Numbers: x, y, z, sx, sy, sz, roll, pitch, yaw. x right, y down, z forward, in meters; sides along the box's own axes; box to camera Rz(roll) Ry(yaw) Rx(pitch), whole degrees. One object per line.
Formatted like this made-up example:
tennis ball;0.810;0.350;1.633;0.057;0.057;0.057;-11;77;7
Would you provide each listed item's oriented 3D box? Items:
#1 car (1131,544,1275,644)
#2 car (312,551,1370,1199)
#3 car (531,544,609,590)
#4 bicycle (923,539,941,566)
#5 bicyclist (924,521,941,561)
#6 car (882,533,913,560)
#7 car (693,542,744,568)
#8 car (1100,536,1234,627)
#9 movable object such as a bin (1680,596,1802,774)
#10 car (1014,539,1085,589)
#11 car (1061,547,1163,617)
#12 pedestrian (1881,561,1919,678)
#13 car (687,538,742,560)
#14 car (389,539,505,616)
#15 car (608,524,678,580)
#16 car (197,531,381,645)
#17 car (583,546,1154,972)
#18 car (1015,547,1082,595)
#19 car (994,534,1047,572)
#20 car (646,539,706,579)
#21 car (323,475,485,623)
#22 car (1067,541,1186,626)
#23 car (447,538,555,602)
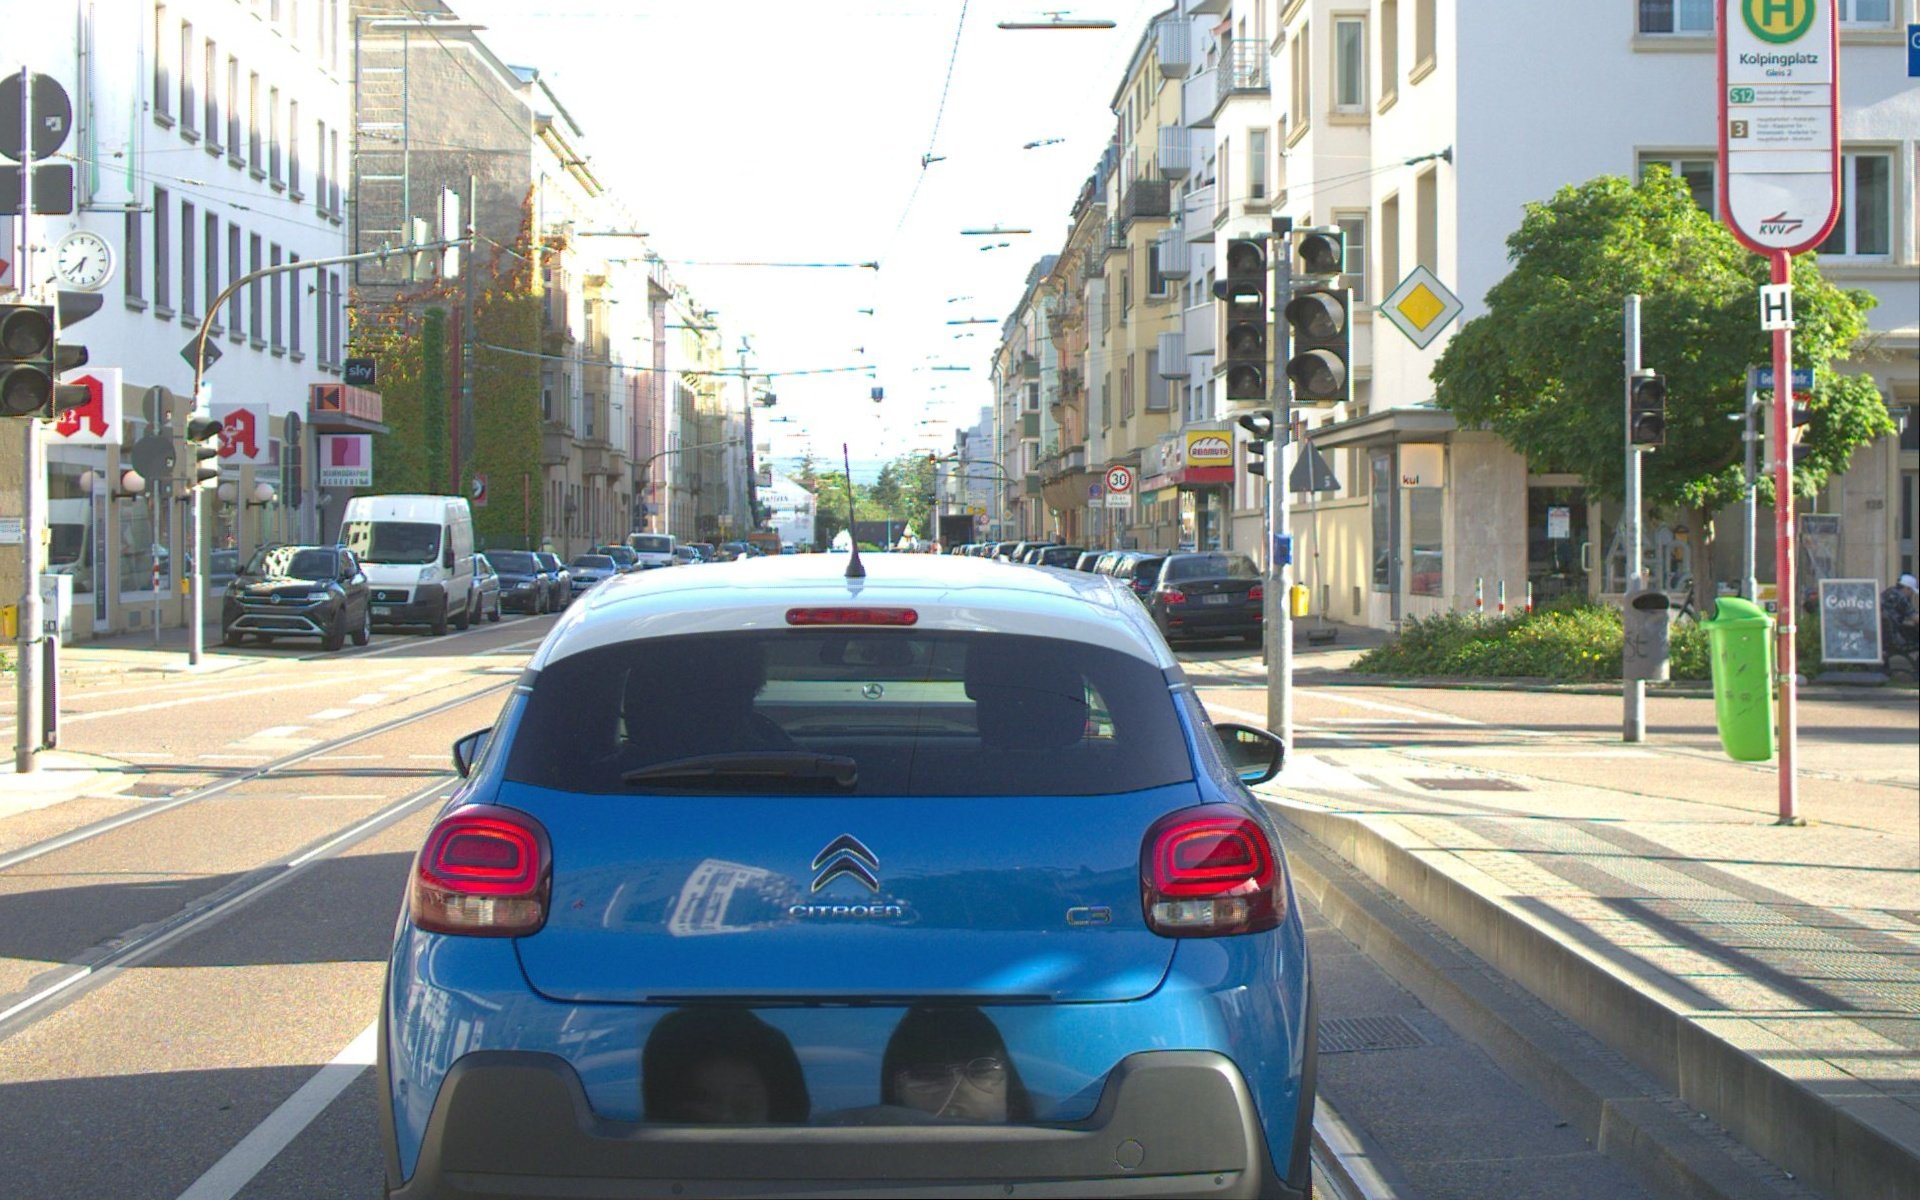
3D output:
car;3.661;-0.123;52.411;1.909;1.459;4.000;0;1;0
car;-0.227;0.651;7.586;1.728;1.477;3.827;1;1;-1
car;-11.674;-1.000;103.175;1.993;1.320;3.923;1;0;-2
bicycle;-1.428;-2.452;176.506;0.920;1.384;3.132;0;1;0
bicyclist;-1.430;-3.018;176.359;0.809;2.007;0.922;1;0;-3
car;-4.068;-3.476;222.880;1.993;1.766;4.000;0;1;-1
car;-10.830;-2.036;154.162;1.993;1.152;4.000;0;1;0
car;3.416;-0.325;57.434;1.993;1.459;4.000;0;1;0
movable object such as a bin;3.512;0.376;15.485;0.449;0.783;0.489;0;1;2
car;2.638;-1.089;102.001;1.993;1.459;4.504;0;1;0
car;3.200;-0.407;73.166;1.993;1.459;4.000;0;1;0
pedestrian;10.889;0.218;39.071;0.741;1.311;0.627;0;1;23
car;-13.190;-2.746;184.825;1.994;1.152;4.513;0;1;9
car;-10.381;-0.469;69.735;1.888;1.491;3.562;1;0;-2
car;-11.655;-1.750;126.655;2.006;2.007;4.689;1;0;1
car;-10.171;-0.199;52.416;1.993;1.563;4.403;3;0;-2
car;-0.356;0.523;14.503;1.984;1.459;4.816;1;1;-1
car;2.730;-0.913;106.469;1.993;1.459;4.000;0;1;0
car;2.328;-1.831;133.177;1.993;1.459;4.000;0;1;0
car;-11.308;-1.631;137.087;1.955;1.547;3.938;1;0;2
car;-10.081;-0.926;62.769;2.085;2.533;6.206;1;1;-2
car;3.014;-0.328;62.877;1.993;1.496;4.000;0;1;0
car;-10.400;-0.681;78.143;1.993;1.393;4.157;1;0;-2
